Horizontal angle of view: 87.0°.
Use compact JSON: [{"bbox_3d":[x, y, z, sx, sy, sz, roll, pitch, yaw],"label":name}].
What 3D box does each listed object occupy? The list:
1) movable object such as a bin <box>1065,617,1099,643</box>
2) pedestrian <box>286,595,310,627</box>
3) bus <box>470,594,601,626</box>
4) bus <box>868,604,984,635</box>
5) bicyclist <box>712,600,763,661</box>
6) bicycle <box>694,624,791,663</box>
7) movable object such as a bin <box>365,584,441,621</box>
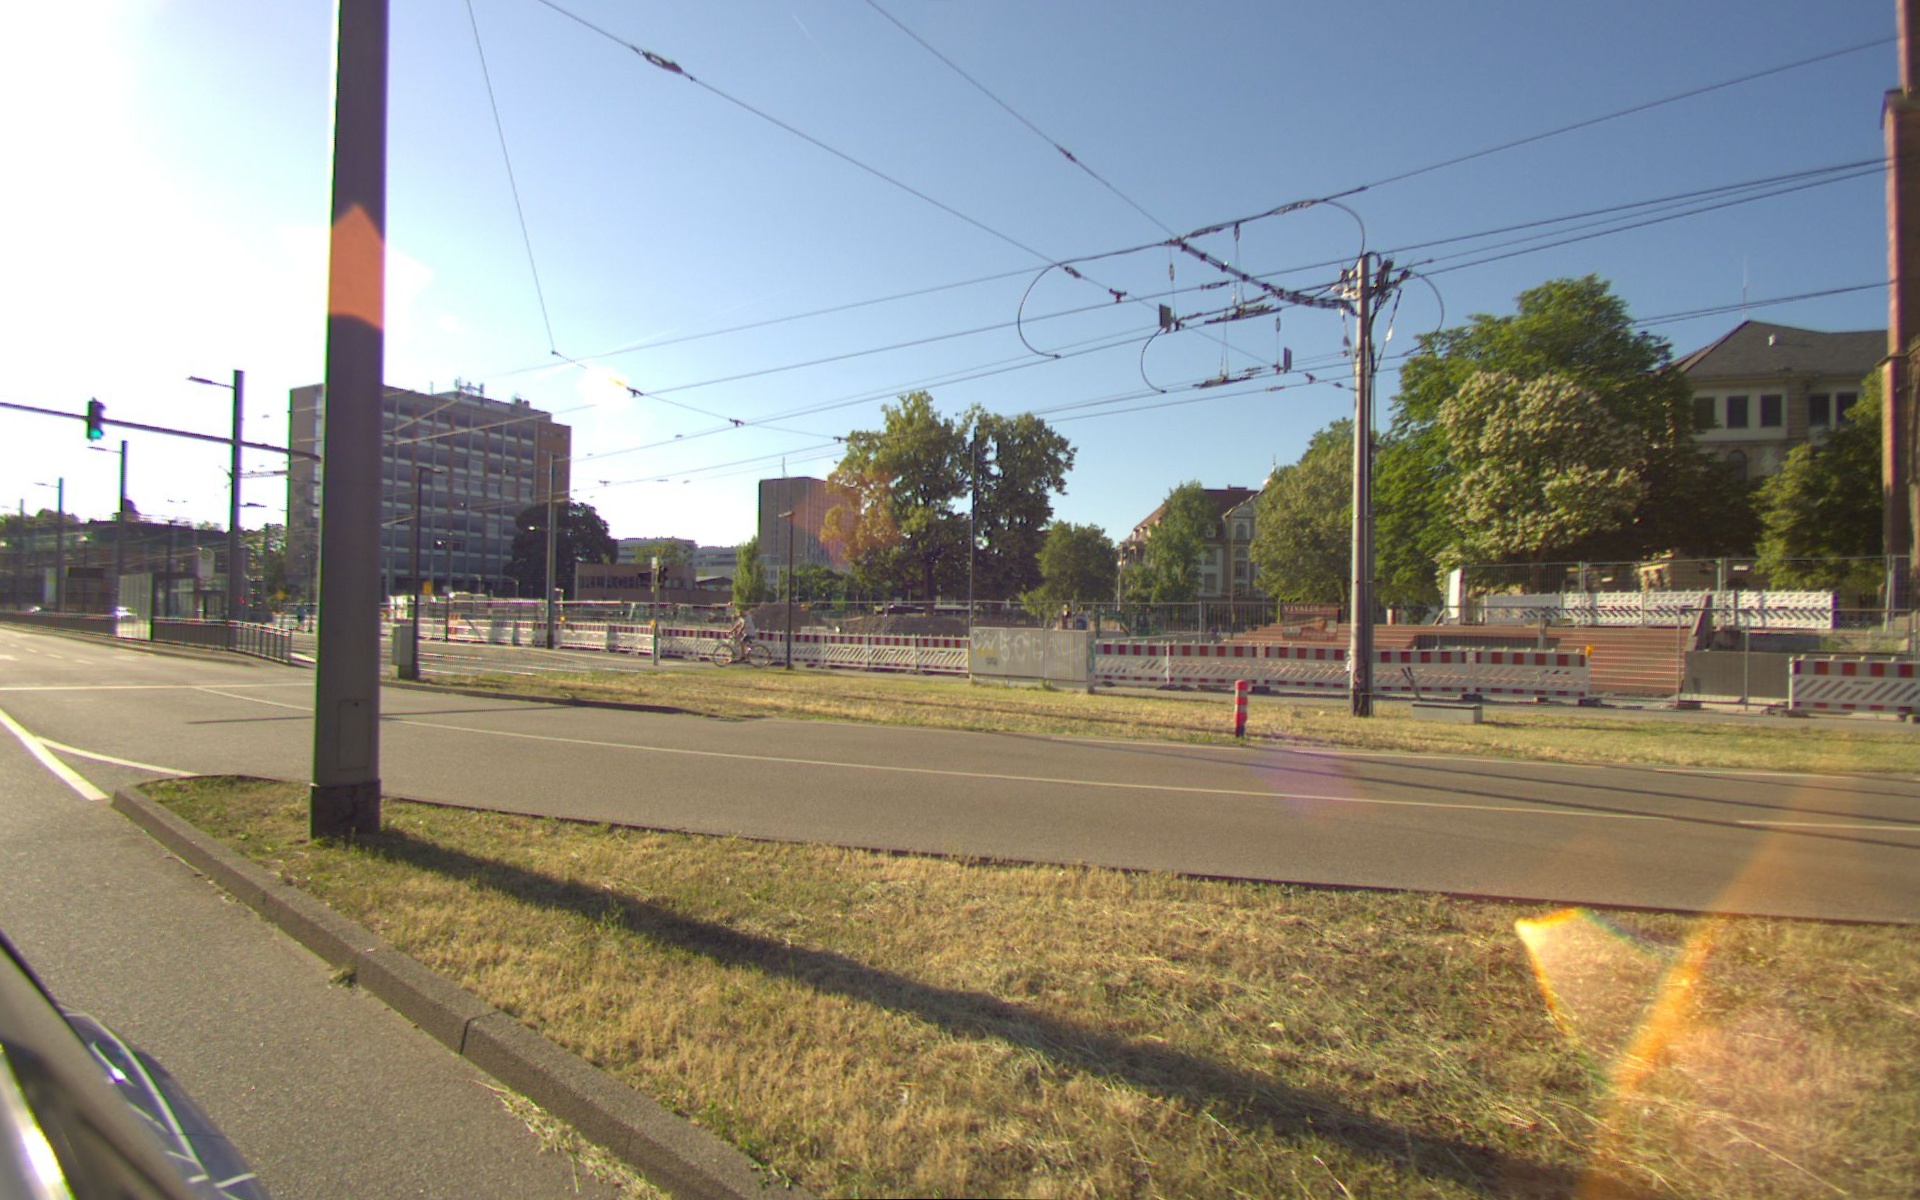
[{"bbox_3d":[10.685,2.655,88.369,1.986,2.029,3.971,-2,-4,21],"label":"movable object such as a bin"},{"bbox_3d":[-37.587,0.631,57.481,1.179,1.782,0.793,-4,-5,41],"label":"pedestrian"},{"bbox_3d":[-44.730,1.058,106.970,12.469,3.219,2.844,0,-4,-4],"label":"bus"},{"bbox_3d":[-3.797,2.122,110.372,12.469,3.219,3.254,0,-4,-4],"label":"bus"},{"bbox_3d":[-6.878,0.965,31.314,1.304,1.823,0.963,-2,-3,9],"label":"bicyclist"},{"bbox_3d":[-6.705,1.351,31.263,2.792,1.105,0.963,-2,-3,9],"label":"bicycle"},{"bbox_3d":[-43.795,0.238,79.563,5.138,2.545,2.613,-2,-4,24],"label":"movable object such as a bin"}]
